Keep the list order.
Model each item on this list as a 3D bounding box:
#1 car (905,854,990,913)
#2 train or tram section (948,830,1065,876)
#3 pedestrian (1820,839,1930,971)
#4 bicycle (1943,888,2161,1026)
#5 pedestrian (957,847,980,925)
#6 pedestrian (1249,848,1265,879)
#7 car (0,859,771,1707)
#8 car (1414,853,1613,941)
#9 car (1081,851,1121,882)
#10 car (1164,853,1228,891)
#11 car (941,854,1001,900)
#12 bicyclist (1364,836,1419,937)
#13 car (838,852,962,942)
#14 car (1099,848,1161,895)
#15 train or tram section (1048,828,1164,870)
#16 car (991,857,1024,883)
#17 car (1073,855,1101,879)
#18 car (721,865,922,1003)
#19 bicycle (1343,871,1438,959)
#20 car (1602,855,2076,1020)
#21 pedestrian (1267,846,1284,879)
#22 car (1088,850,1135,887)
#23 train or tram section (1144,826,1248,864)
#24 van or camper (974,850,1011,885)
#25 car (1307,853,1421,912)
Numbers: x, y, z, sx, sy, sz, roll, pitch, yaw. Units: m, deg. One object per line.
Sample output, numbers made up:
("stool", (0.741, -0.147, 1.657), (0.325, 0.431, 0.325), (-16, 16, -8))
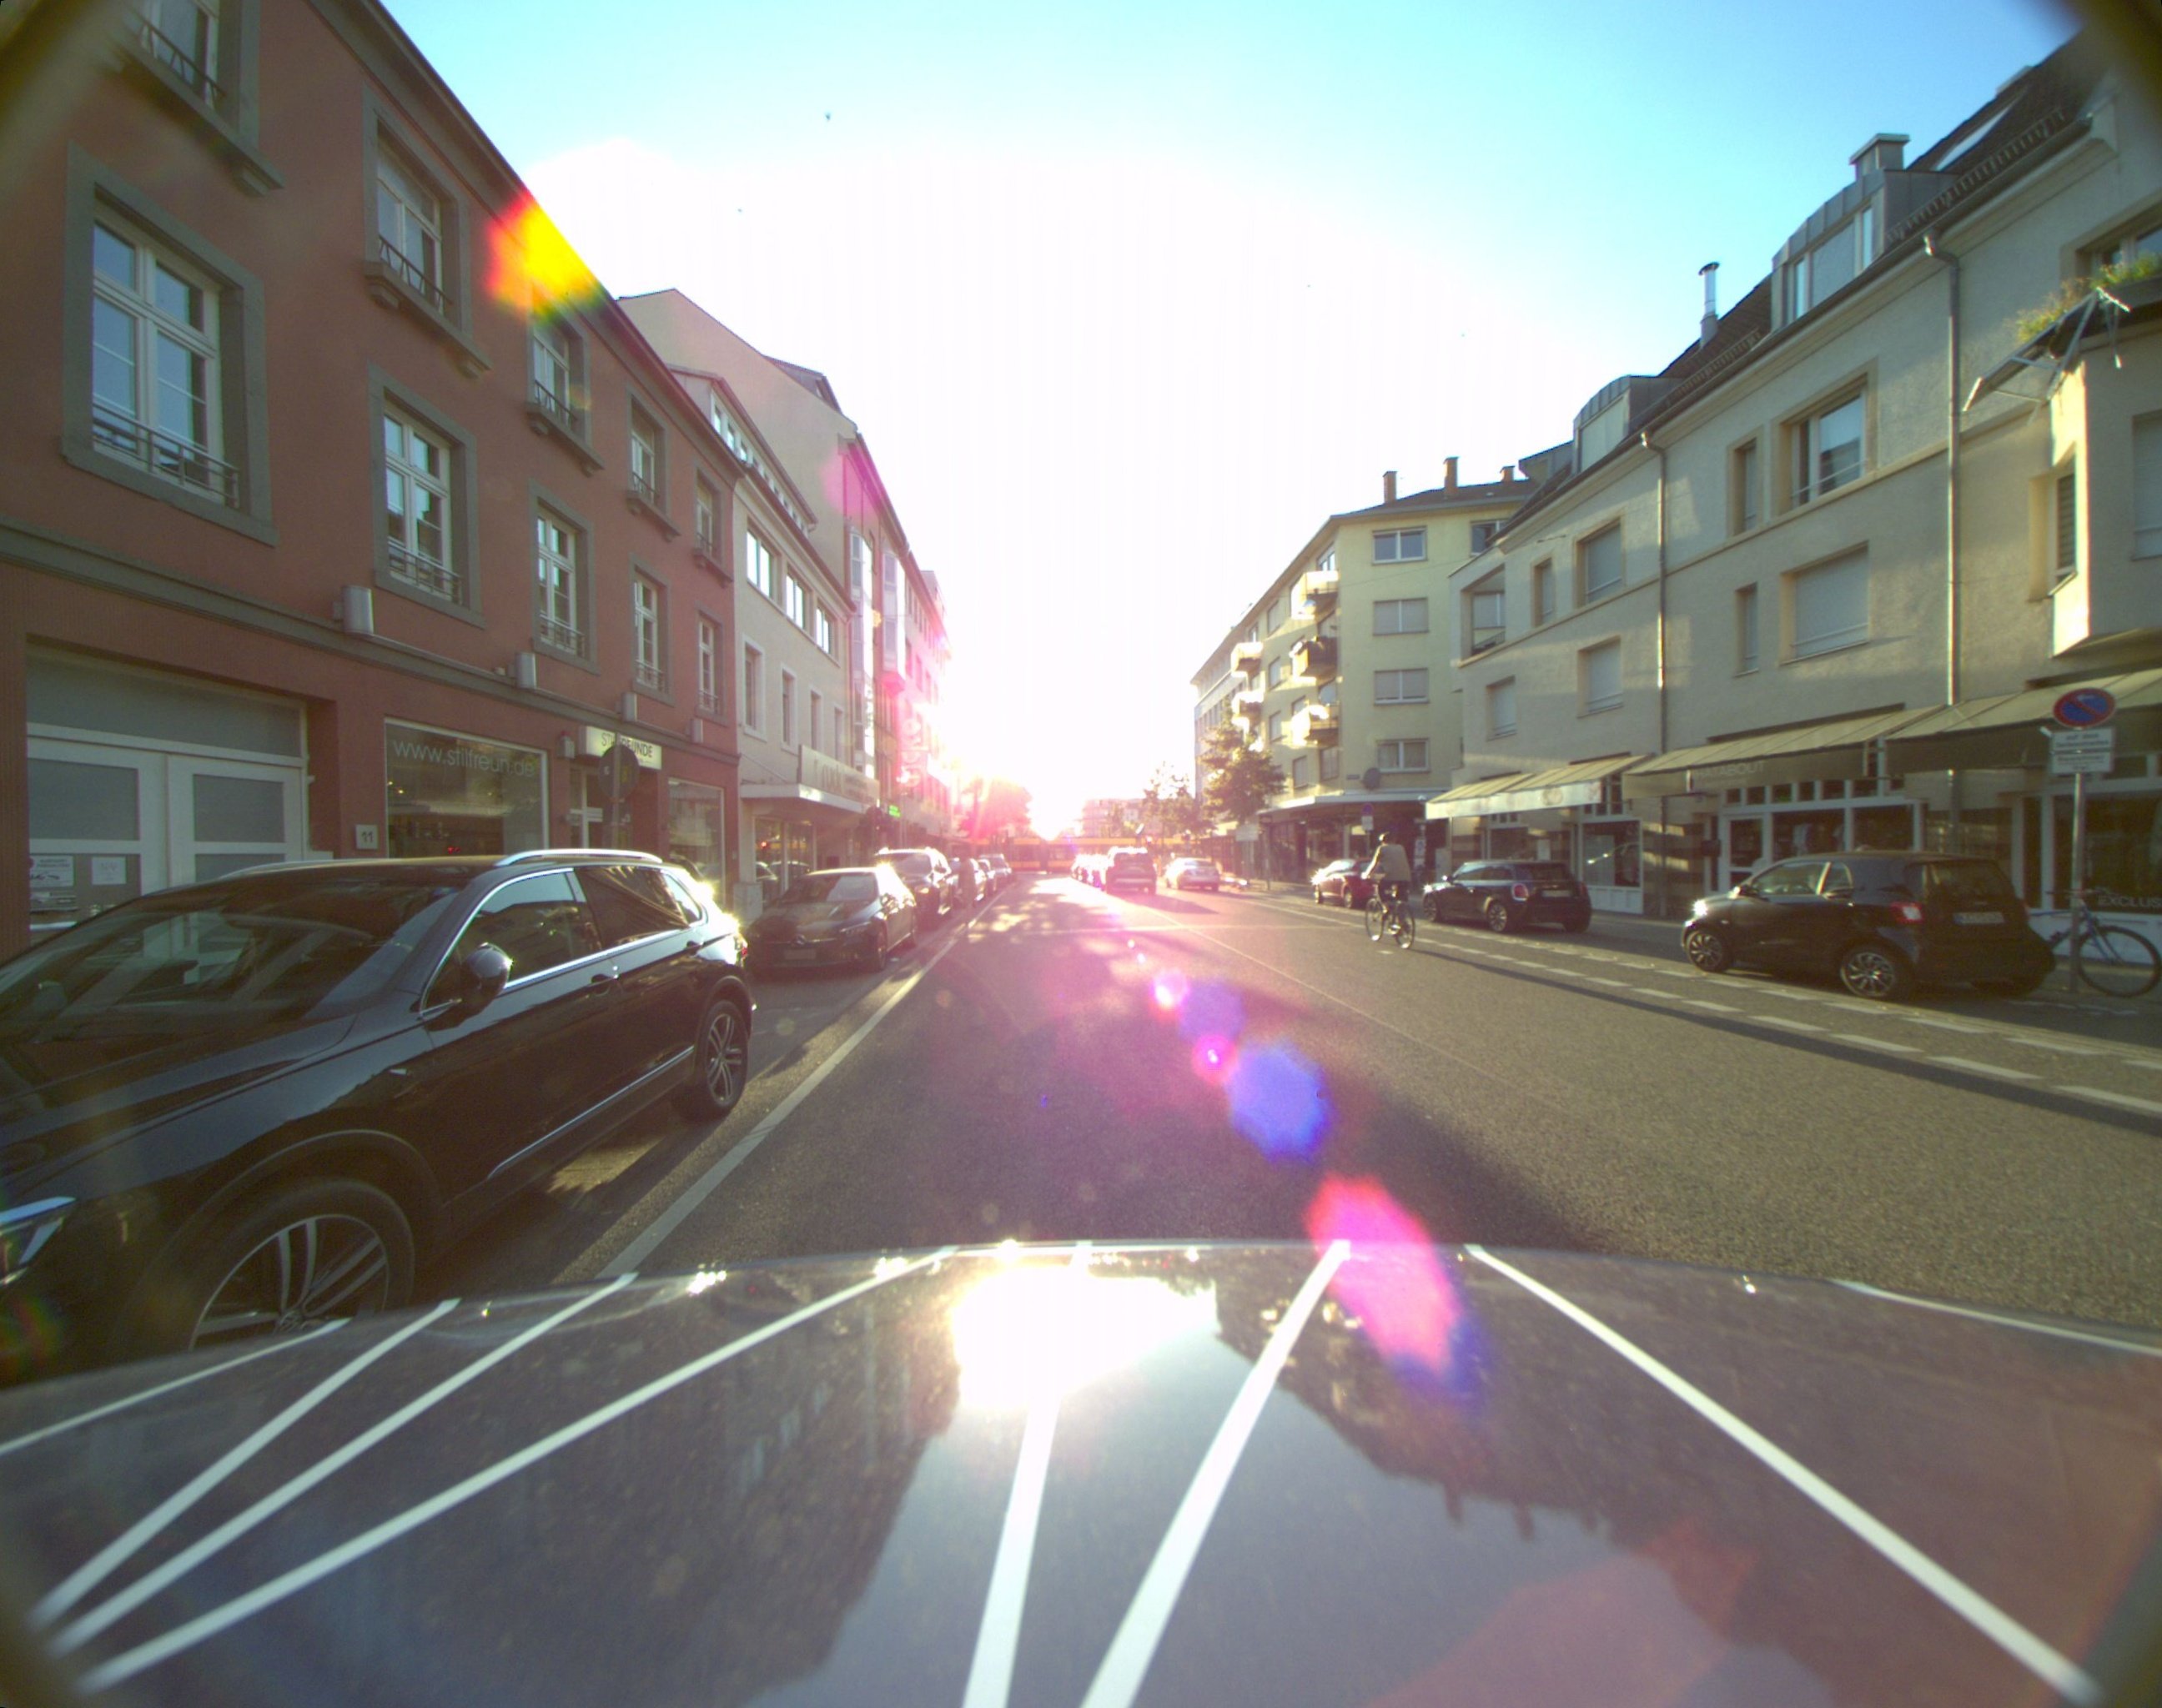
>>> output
("car", (-4.208, 0.879, 24.640), (1.999, 1.645, 4.626), (-2, 1, -2))
("train or tram section", (-6.818, -0.148, 70.726), (10.456, 3.788, 3.139), (-3, 1, -32))
("pedestrian", (10.790, 0.666, 10.349), (0.720, 1.724, 0.738), (-1, 1, -3))
("bicycle", (10.460, 1.016, 7.981), (0.560, 1.199, 1.977), (-1, 1, 0))
("pedestrian", (-2.697, 0.755, 18.224), (0.485, 1.847, 0.539), (-1, 1, -10))
("pedestrian", (10.240, 0.530, 44.216), (0.720, 1.781, 0.666), (-1, 1, -2))
("car", (-3.030, 0.938, 3.128), (1.799, 1.688, 4.458), (-3, 1, -3))
("car", (8.743, 0.777, 15.774), (1.794, 1.571, 3.785), (-1, 1, -4))
("car", (1.052, 0.650, 42.883), (1.843, 1.639, 4.298), (1, 0, -4))
("car", (5.132, 0.747, 34.469), (1.999, 1.595, 4.403), (0, 0, -3))
("car", (-4.344, 0.868, 30.705), (1.999, 1.645, 4.478), (-1, 0, -3))
("bicyclist", (4.960, 0.502, 12.167), (0.548, 1.571, 0.803), (-1, 1, 1))
("car", (-4.099, 0.863, 18.136), (1.999, 1.767, 5.316), (-2, 1, -4))
("car", (1.799, 0.604, 29.370), (1.843, 1.639, 4.298), (1, 0, -4))
("train or tram section", (2.629, -0.578, 76.673), (11.863, 3.788, 3.139), (-3, 1, -32))
("car", (-4.441, 0.939, 46.195), (1.694, 1.494, 3.786), (-1, 1, -1))
("car", (0.350, 0.843, 49.522), (1.503, 1.426, 4.026), (1, 0, -4))
("car", (-3.671, 1.026, 11.628), (1.689, 1.479, 4.408), (-3, 1, -3))
("bicycle", (4.965, 0.931, 12.356), (0.665, 1.235, 2.130), (1, 0, 1))
("car", (8.875, 0.825, 9.491), (1.794, 1.571, 3.965), (-1, 1, -5))
("pedestrian", (10.809, 0.458, 42.176), (0.720, 1.781, 0.666), (-1, 1, -2))
("car", (1.405, 0.661, 36.458), (1.843, 1.639, 4.299), (1, 0, -3))
("train or tram section", (12.680, -1.034, 82.963), (11.863, 3.788, 3.139), (-3, 1, -32))
("van or camper", (-4.741, 0.658, 40.416), (1.794, 1.763, 4.554), (-1, 1, -8))
("car", (8.326, 0.785, 22.712), (1.794, 1.571, 3.785), (-1, 1, -4))
